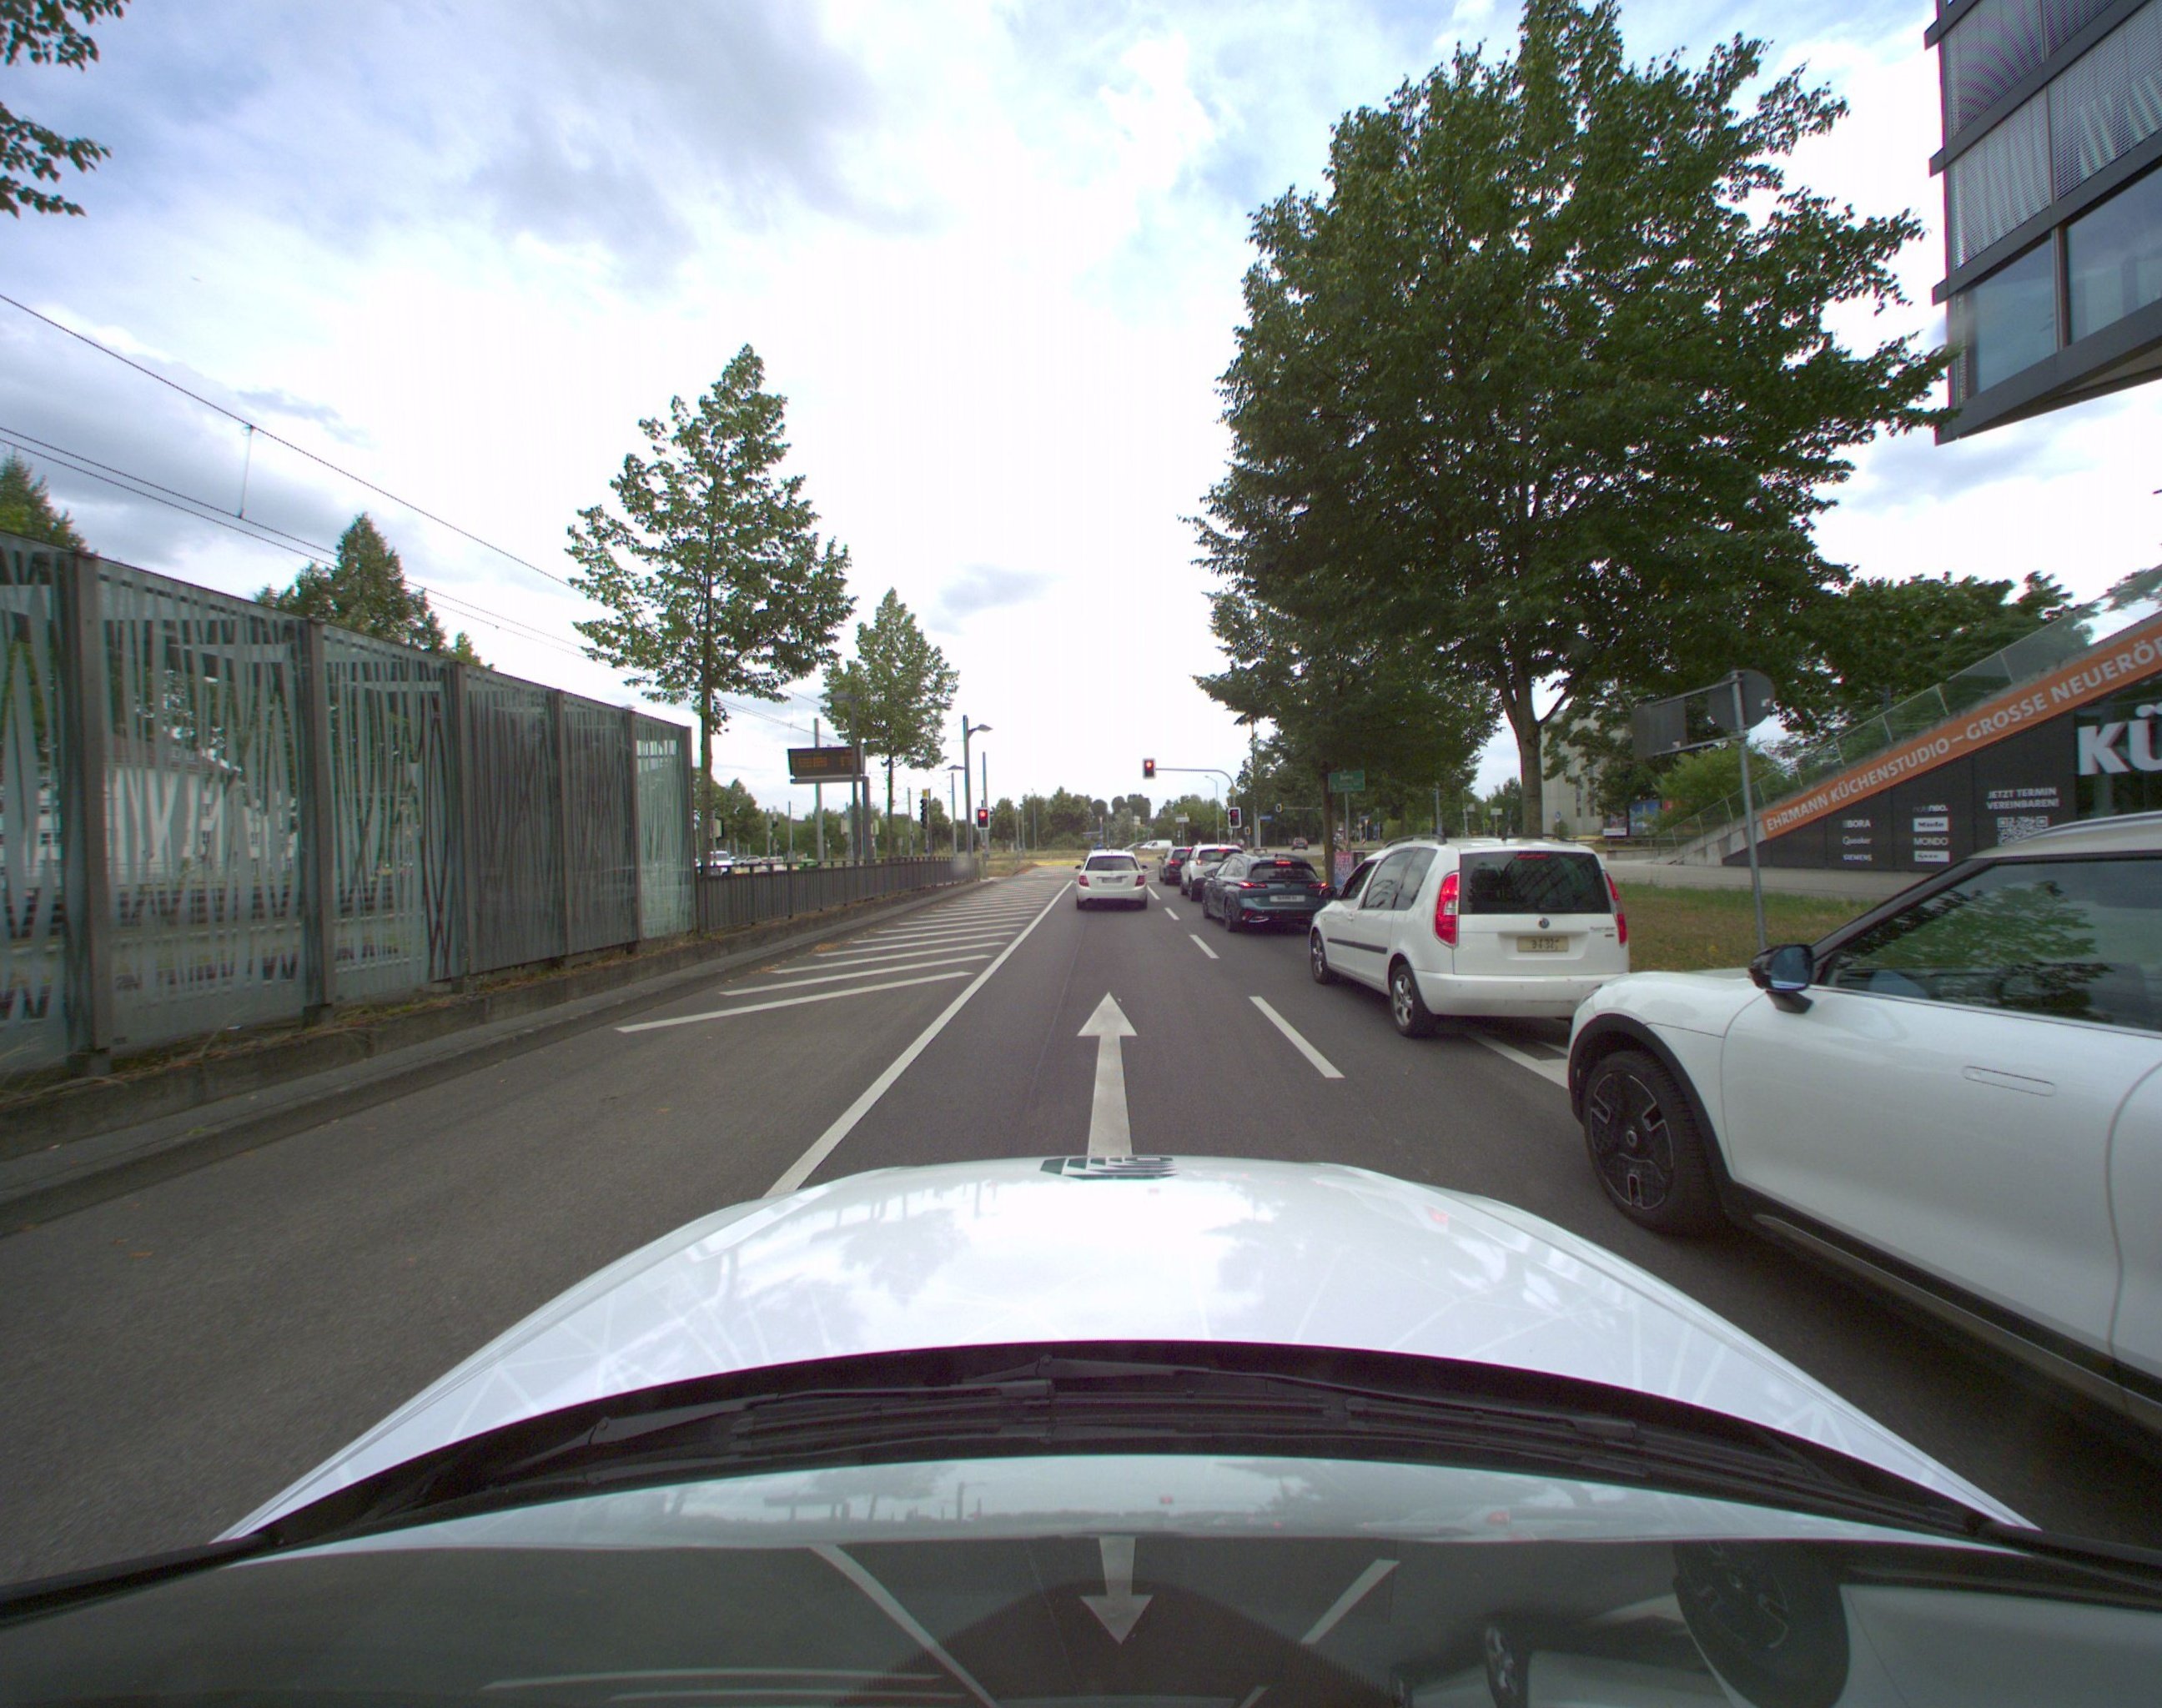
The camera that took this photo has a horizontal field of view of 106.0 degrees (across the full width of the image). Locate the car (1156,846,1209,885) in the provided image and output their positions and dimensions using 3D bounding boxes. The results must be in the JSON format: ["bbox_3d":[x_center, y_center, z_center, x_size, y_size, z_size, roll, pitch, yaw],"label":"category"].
[{"bbox_3d":[3.935,0.404,32.192,1.619,1.448,3.910,0,1,0],"label":"car"}]

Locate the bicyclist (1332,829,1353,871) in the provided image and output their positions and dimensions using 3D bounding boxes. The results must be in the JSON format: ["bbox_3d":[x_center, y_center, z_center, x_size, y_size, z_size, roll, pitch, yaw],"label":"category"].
[{"bbox_3d":[12.179,-0.185,37.990,0.726,1.885,0.734,-2,0,1],"label":"bicyclist"}]

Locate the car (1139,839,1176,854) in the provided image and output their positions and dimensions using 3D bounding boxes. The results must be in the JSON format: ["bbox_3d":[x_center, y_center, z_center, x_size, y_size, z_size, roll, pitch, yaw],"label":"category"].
[{"bbox_3d":[11.077,-1.115,117.752,5.017,2.013,1.980,-2,1,-32],"label":"car"}]

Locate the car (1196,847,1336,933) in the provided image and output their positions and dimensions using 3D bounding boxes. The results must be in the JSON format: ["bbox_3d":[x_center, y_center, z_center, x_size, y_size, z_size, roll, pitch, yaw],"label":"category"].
[{"bbox_3d":[3.504,0.608,16.241,1.781,1.432,4.310,-1,1,0],"label":"car"}]

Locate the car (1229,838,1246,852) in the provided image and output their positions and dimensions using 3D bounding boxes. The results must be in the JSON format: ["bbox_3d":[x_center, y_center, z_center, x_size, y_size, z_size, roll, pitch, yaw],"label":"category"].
[{"bbox_3d":[20.172,-1.102,105.160,1.982,1.791,4.010,1,0,9],"label":"car"}]

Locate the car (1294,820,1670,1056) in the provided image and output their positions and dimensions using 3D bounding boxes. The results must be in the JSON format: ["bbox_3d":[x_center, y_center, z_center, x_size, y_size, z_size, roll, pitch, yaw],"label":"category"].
[{"bbox_3d":[3.427,0.590,7.913,1.772,1.656,4.026,-2,1,2],"label":"car"}]

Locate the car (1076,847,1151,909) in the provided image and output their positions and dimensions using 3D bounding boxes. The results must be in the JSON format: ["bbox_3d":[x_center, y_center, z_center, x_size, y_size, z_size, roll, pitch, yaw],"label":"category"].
[{"bbox_3d":[0.780,0.560,21.200,1.768,1.448,3.910,0,1,0],"label":"car"}]

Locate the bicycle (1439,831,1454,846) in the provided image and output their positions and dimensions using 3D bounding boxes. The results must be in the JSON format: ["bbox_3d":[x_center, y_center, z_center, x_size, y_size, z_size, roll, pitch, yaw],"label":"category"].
[{"bbox_3d":[36.958,-1.578,82.435,0.702,1.505,2.009,1,0,4],"label":"bicycle"}]

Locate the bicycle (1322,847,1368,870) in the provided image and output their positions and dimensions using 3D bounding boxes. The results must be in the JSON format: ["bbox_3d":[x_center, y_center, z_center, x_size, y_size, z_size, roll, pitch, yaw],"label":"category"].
[{"bbox_3d":[12.334,0.207,38.086,1.927,0.984,0.565,-2,1,0],"label":"bicycle"}]

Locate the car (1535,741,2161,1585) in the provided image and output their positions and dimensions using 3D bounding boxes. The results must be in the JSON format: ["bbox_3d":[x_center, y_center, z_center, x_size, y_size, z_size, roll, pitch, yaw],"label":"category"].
[{"bbox_3d":[3.021,0.603,1.933,1.772,1.656,4.026,0,1,2],"label":"car"}]

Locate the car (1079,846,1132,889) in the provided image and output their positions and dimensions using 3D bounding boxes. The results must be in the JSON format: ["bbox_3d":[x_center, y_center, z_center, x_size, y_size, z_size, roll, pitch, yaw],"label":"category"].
[{"bbox_3d":[0.828,0.440,29.367,1.768,1.448,3.910,0,1,0],"label":"car"}]

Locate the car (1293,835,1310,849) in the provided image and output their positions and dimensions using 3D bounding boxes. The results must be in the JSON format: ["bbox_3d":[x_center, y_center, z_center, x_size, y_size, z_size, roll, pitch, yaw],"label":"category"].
[{"bbox_3d":[26.916,-1.424,99.582,1.771,1.636,4.416,-2,0,12],"label":"car"}]

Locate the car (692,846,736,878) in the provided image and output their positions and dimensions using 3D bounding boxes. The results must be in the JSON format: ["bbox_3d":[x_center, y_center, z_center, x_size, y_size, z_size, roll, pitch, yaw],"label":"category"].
[{"bbox_3d":[-19.933,0.387,44.364,2.002,1.618,4.352,-2,1,-22],"label":"car"}]

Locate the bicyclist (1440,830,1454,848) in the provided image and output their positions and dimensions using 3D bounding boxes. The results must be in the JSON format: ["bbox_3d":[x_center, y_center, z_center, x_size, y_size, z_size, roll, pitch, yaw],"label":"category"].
[{"bbox_3d":[36.989,-1.534,82.295,0.863,1.789,1.175,-2,0,1],"label":"bicyclist"}]

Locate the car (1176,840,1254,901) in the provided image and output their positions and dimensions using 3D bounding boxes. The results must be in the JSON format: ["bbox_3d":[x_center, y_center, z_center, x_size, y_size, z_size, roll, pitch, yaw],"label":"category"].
[{"bbox_3d":[3.900,0.431,24.229,1.780,1.624,3.913,-2,1,2],"label":"car"}]
